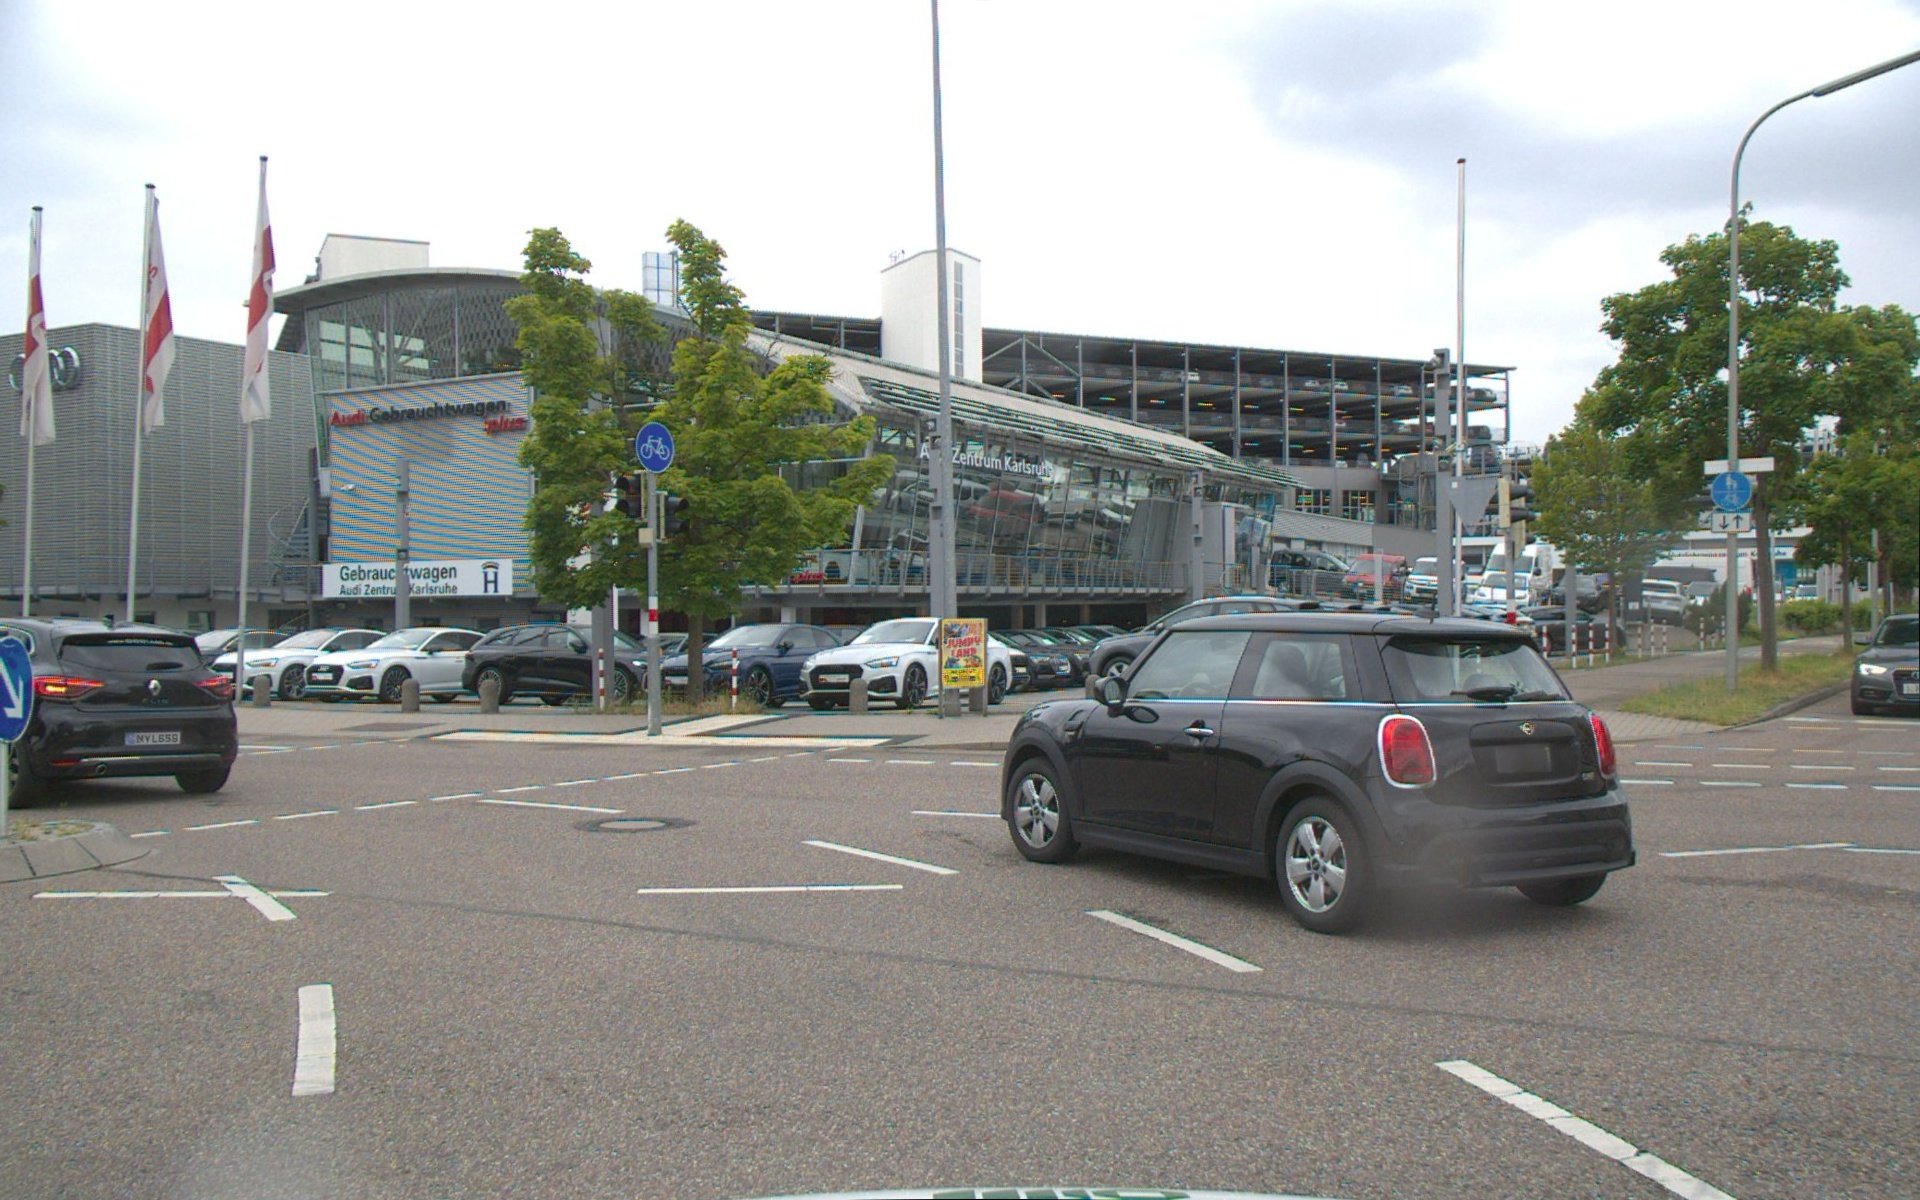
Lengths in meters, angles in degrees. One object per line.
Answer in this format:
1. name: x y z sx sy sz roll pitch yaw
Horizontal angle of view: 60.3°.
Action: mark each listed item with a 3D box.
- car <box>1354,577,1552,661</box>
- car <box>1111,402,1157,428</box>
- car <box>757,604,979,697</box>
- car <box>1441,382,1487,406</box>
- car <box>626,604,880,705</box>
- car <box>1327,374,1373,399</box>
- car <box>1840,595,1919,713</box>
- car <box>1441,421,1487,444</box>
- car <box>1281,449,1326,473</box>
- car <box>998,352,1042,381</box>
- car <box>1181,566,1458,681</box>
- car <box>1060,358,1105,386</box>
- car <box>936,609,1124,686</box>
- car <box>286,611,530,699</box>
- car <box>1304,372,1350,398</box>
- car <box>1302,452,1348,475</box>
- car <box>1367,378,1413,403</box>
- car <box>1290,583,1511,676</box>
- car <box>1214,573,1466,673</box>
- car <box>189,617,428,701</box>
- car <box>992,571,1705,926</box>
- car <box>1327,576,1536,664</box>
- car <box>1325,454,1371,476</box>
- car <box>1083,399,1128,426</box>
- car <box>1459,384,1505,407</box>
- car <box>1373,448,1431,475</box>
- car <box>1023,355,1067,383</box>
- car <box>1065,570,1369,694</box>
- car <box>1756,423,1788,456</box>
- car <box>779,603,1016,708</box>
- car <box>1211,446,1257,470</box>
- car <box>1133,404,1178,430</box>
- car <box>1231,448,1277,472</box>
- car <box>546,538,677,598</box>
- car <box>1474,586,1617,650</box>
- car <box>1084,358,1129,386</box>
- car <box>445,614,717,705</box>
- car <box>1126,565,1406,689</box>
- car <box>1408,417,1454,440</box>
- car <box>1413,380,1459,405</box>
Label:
1. car: 13.374 0.546 44.927 4.798 2.049 1.997 -3 -2 28
2. car: 14.365 -15.288 136.598 1.969 1.696 3.967 0 0 -26
3. car: -2.113 1.125 37.645 4.712 1.973 1.996 -1 0 30
4. car: 46.936 -19.140 153.975 1.969 1.696 3.967 0 0 -26
5. car: -3.306 0.954 27.388 2.023 1.512 4.511 -2 -4 27
6. car: 34.704 -18.979 147.319 1.969 1.696 3.967 0 0 -26
7. car: 14.194 0.719 24.227 1.943 1.578 4.601 -1 0 33
8. car: 46.837 -15.596 153.787 1.969 1.696 3.967 0 0 -26
9. car: 30.094 -12.175 144.985 1.969 1.696 3.967 0 0 -26
10. car: 4.802 -18.685 132.439 1.969 1.696 3.967 0 0 -26
11. car: 7.144 0.506 32.933 4.926 2.049 2.263 -3 -2 28
12. car: 9.987 -18.559 134.607 1.969 1.696 3.967 0 0 -26
13. car: 1.875 1.269 44.773 4.712 1.973 1.996 -1 0 30
14. car: -10.207 1.064 30.884 1.812 1.512 4.190 -1 -3 29
15. car: 32.372 -18.951 146.096 1.969 1.696 3.967 0 0 -26
16. car: 32.289 -12.045 146.453 1.969 1.696 3.967 0 0 -26
17. car: 38.963 -19.001 150.028 1.969 1.696 3.967 0 0 -26
18. car: 10.664 0.743 40.083 4.798 2.049 1.997 -3 -2 28
19. car: 8.084 0.520 35.231 4.849 1.909 2.052 -3 -2 26
20. car: -12.499 1.169 31.958 1.835 1.512 4.037 -1 -3 29
21. car: 1.802 0.757 8.766 1.765 1.441 3.610 3 -5 -27
22. car: 12.073 0.549 42.406 4.798 2.049 1.997 -3 -2 28
23. car: 34.482 -11.993 147.112 1.969 1.696 3.967 0 0 -26
24. car: 11.919 -15.346 135.626 1.969 1.696 3.967 0 0 -26
25. car: 48.868 -19.143 155.032 1.969 1.696 3.967 0 0 -26
26. car: 40.589 -12.699 152.063 2.179 1.979 5.280 0 0 -29
27. car: 6.865 -18.634 133.686 1.969 1.696 3.967 0 0 -26
28. car: 4.346 0.574 28.117 4.680 1.895 1.997 -3 -2 28
29. car: 59.423 -11.743 121.024 1.955 1.916 3.994 -1 -1 28
30. car: -0.889 0.890 26.046 1.833 1.512 4.222 -2 -3 29
31. car: 23.433 -12.099 141.432 1.969 1.696 3.967 0 0 -26
32. car: 16.245 -15.247 137.743 1.969 1.696 3.967 0 0 -26
33. car: 25.297 -12.055 142.566 1.969 1.696 3.967 0 0 -26
34. car: -10.582 -0.964 50.480 1.784 1.691 3.995 1 0 27
35. car: 18.190 0.533 51.414 3.913 1.870 1.756 1 0 30
36. car: 11.998 -18.728 135.896 1.969 1.696 3.967 0 0 -26
37. car: -6.752 1.076 29.397 4.650 1.512 1.889 -1 -3 30
38. car: 5.597 0.528 30.361 4.611 2.049 1.997 -3 -2 28
39. car: 43.305 -15.726 152.095 1.969 1.696 3.967 0 0 -26
40. car: 43.697 -19.048 152.009 1.969 1.696 3.967 0 0 -26
